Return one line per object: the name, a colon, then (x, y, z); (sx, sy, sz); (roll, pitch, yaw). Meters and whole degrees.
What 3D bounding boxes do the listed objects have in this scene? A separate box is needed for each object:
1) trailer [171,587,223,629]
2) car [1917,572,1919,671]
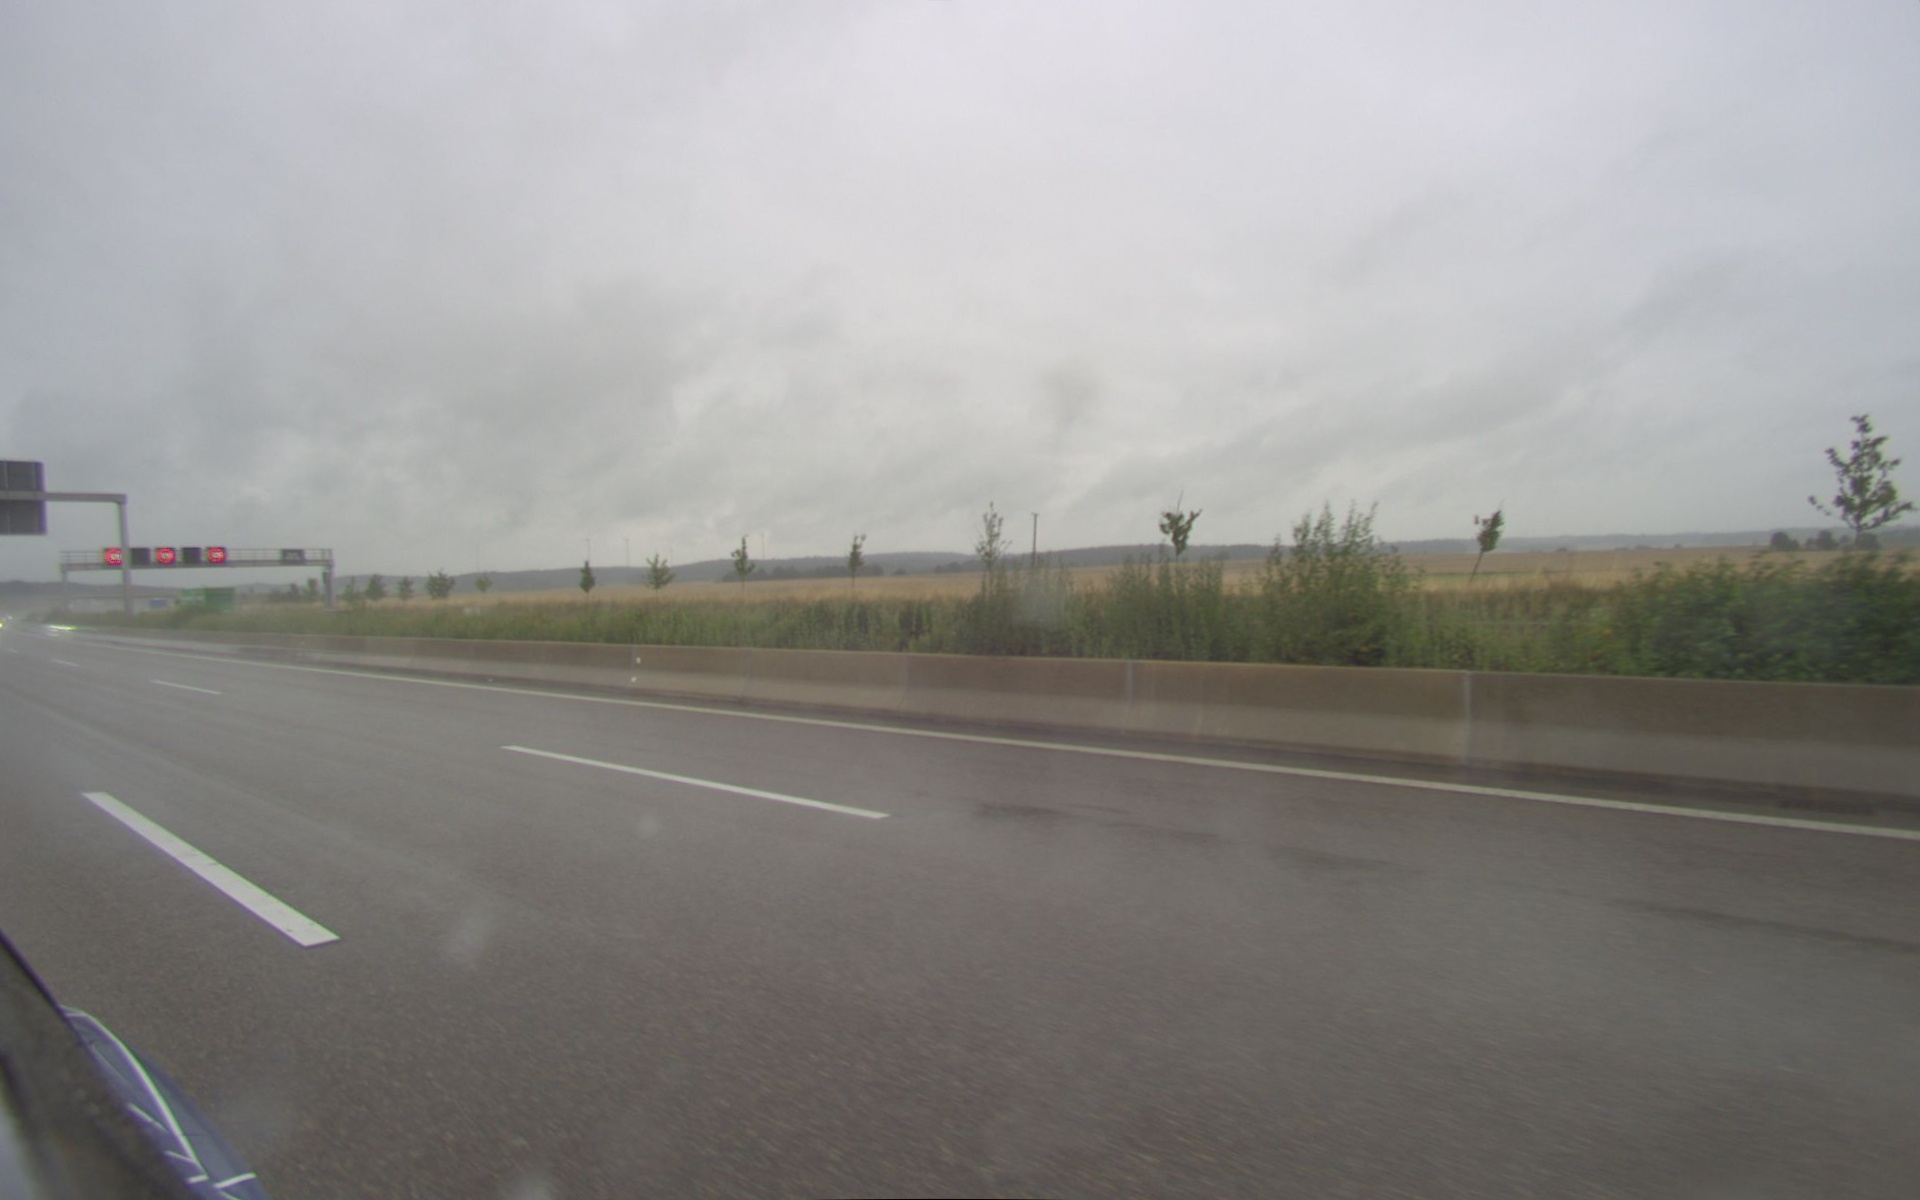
trailer: (-78.760, 0.863, 104.330); (14.305, 4.070, 1.971); (-1, 0, 44)
car: (16.514, 0.333, 14.658); (3.718, 1.608, 1.661); (-1, -1, 41)
